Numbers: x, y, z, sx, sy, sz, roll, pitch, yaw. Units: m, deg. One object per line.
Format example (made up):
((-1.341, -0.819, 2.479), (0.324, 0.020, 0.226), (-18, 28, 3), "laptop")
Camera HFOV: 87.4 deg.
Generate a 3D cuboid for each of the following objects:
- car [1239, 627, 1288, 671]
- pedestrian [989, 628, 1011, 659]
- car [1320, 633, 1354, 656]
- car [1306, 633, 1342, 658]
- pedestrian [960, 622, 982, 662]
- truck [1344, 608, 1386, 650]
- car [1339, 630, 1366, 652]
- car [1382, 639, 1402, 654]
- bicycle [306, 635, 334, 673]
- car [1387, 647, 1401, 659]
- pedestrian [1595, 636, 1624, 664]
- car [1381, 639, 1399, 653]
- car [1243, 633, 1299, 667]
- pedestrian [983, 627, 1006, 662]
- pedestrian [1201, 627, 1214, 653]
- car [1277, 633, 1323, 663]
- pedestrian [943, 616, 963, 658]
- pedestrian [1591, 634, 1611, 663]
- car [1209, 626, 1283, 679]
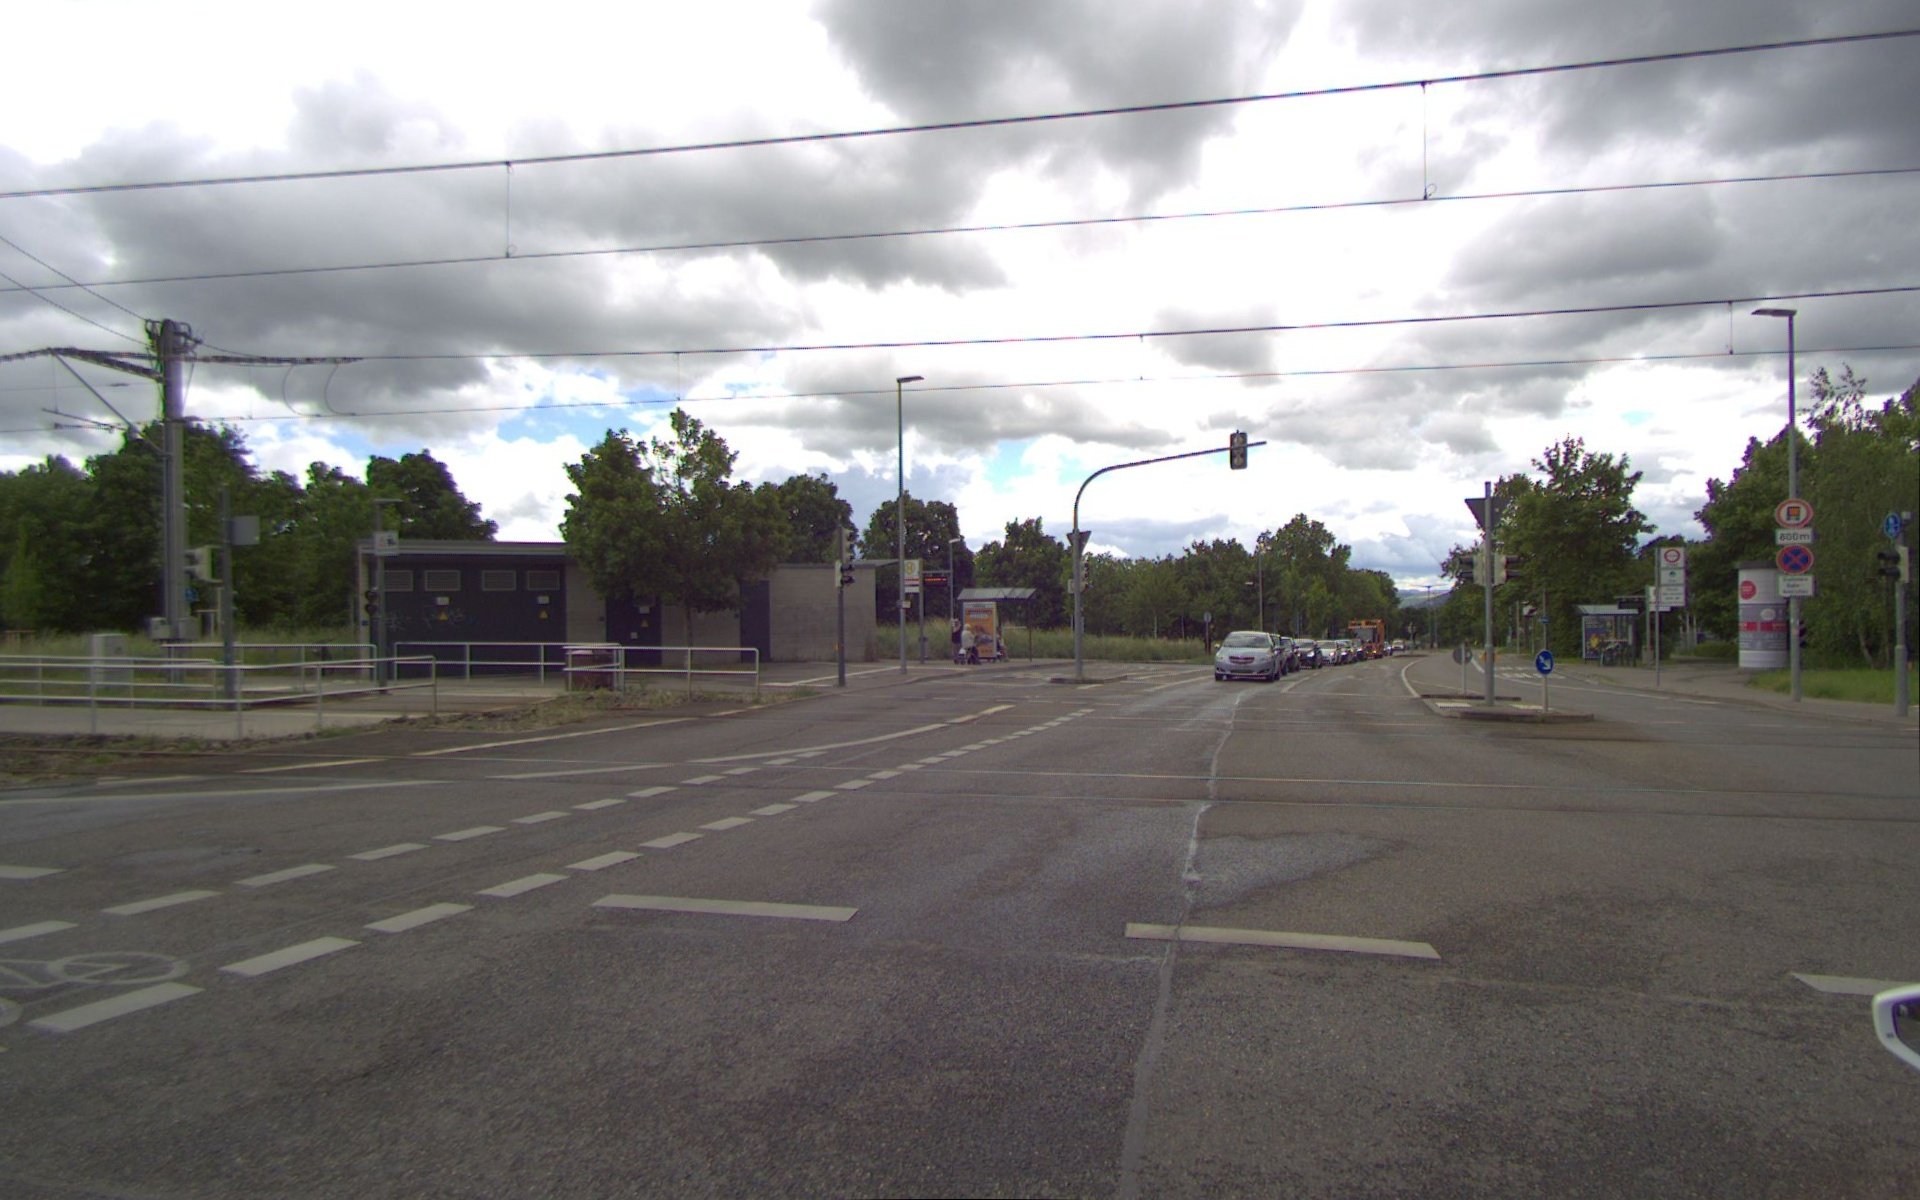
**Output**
((11.342, 1.818, 37.456), (1.405, 1.547, 2.774), (-1, -2, 23), "car")
((1.607, 1.741, 40.101), (0.759, 1.243, 0.551), (-1, -1, 18), "pedestrian")
((23.832, 2.788, 63.413), (1.614, 1.409, 4.881), (-2, -2, 25), "car")
((21.078, 2.602, 58.076), (1.614, 1.409, 3.759), (-2, -2, 25), "car")
((0.386, 1.453, 35.068), (0.540, 1.381, 0.774), (-1, -1, 18), "pedestrian")
((36.328, 2.628, 89.931), (2.664, 3.532, 9.985), (-1, -2, 26), "truck")
((29.969, 3.146, 76.708), (1.614, 1.606, 4.057), (-2, -2, 25), "car")
((47.762, 5.131, 110.945), (1.817, 1.540, 4.812), (-4, -4, 25), "car")
((-20.228, 1.692, 31.716), (0.672, 1.120, 2.235), (1, -2, -34), "bicycle")
((70.020, 8.558, 161.982), (1.817, 1.827, 4.647), (-4, -4, 25), "car")
((29.377, 2.263, 45.449), (0.763, 1.269, 0.770), (0, -2, -16), "pedestrian")
((45.258, 4.822, 105.784), (1.523, 1.348, 3.651), (-4, -4, 25), "car")
((13.430, 2.124, 43.174), (1.771, 1.349, 4.378), (-1, -2, 24), "car")
((1.325, 1.719, 38.853), (0.759, 1.348, 0.551), (-1, -1, 18), "pedestrian")
((17.777, 2.893, 72.106), (0.710, 1.859, 0.677), (-2, -2, 27), "pedestrian")
((16.481, 2.303, 48.631), (1.614, 1.349, 4.057), (-2, -2, 25), "car")
((-0.294, 1.503, 40.753), (0.632, 1.692, 0.545), (1, -2, -37), "pedestrian")
((29.808, 2.249, 46.710), (0.717, 1.333, 0.588), (-1, -2, 28), "pedestrian")
((9.002, 1.617, 31.443), (1.797, 1.556, 4.219), (-1, -2, 22), "car")
